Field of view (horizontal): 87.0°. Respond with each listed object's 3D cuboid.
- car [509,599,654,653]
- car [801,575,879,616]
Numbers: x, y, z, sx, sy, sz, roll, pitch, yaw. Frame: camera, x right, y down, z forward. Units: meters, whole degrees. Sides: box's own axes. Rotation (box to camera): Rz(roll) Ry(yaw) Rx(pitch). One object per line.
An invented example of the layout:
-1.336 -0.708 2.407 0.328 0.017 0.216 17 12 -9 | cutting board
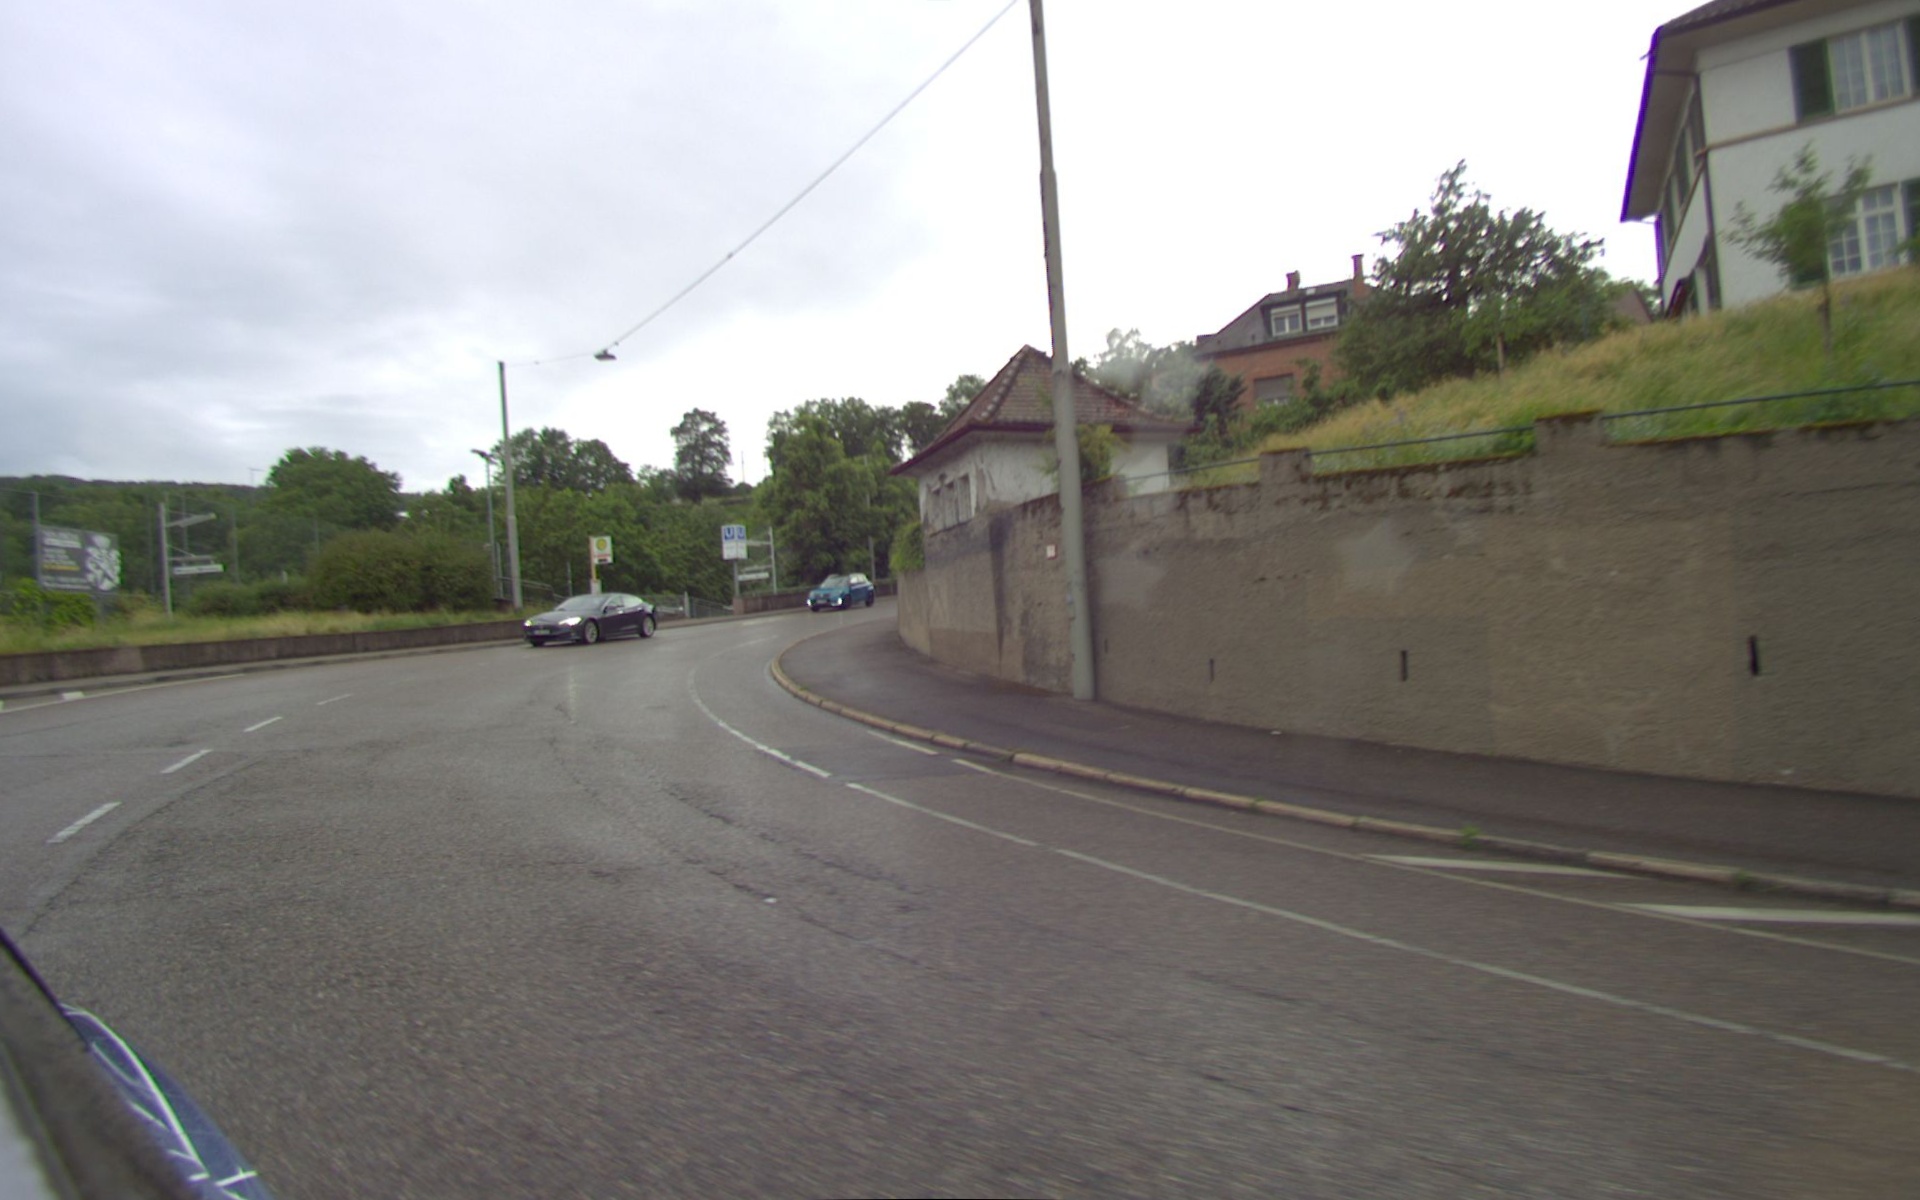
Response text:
-10.991 0.727 29.726 1.820 1.402 4.302 -1 1 16 | car
-5.413 -0.173 46.022 1.789 1.622 4.013 -6 -3 20 | car
